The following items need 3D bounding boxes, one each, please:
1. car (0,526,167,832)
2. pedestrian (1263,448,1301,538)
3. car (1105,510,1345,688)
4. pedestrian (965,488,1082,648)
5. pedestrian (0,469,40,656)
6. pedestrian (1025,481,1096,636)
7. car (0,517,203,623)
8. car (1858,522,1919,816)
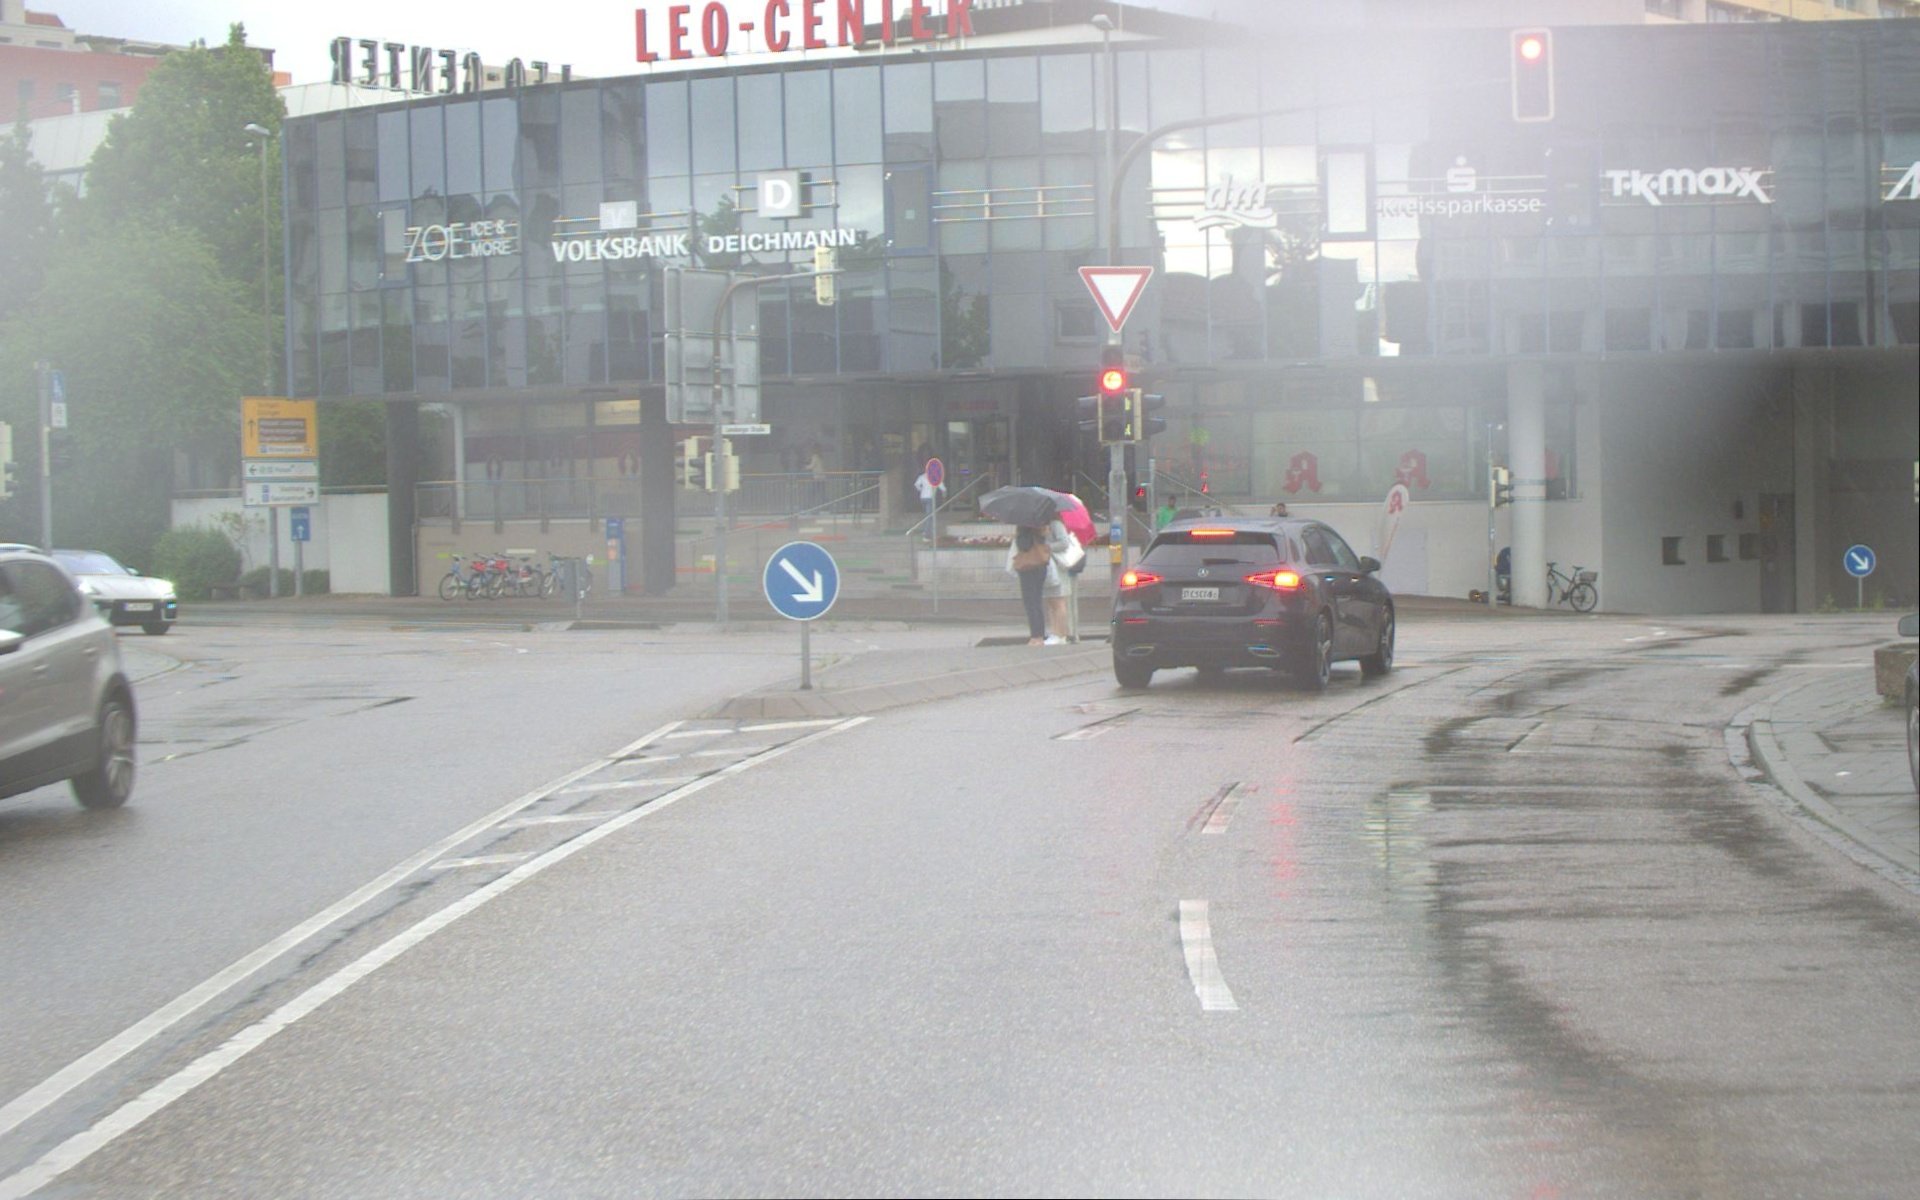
[{"bbox_3d":[-5.564,0.421,17.536,1.825,1.434,3.841,-3,2,4],"label":"car"},{"bbox_3d":[7.347,-2.439,78.381,0.788,2.007,0.670,-1,1,9],"label":"pedestrian"},{"bbox_3d":[2.380,-0.053,30.058,1.805,1.414,3.999,-1,1,8],"label":"car"},{"bbox_3d":[0.678,-0.341,36.837,0.908,1.653,0.755,2,3,-29],"label":"pedestrian"},{"bbox_3d":[-10.587,-0.421,37.213,0.749,2.007,0.920,3,1,19],"label":"pedestrian"},{"bbox_3d":[1.104,-0.462,37.721,0.609,1.653,0.672,3,2,-6],"label":"pedestrian"},{"bbox_3d":[-14.657,-0.531,57.723,1.994,1.506,4.432,1,3,-39],"label":"car"},{"bbox_3d":[5.682,0.328,17.193,1.698,1.481,3.999,-4,1,7],"label":"car"}]
